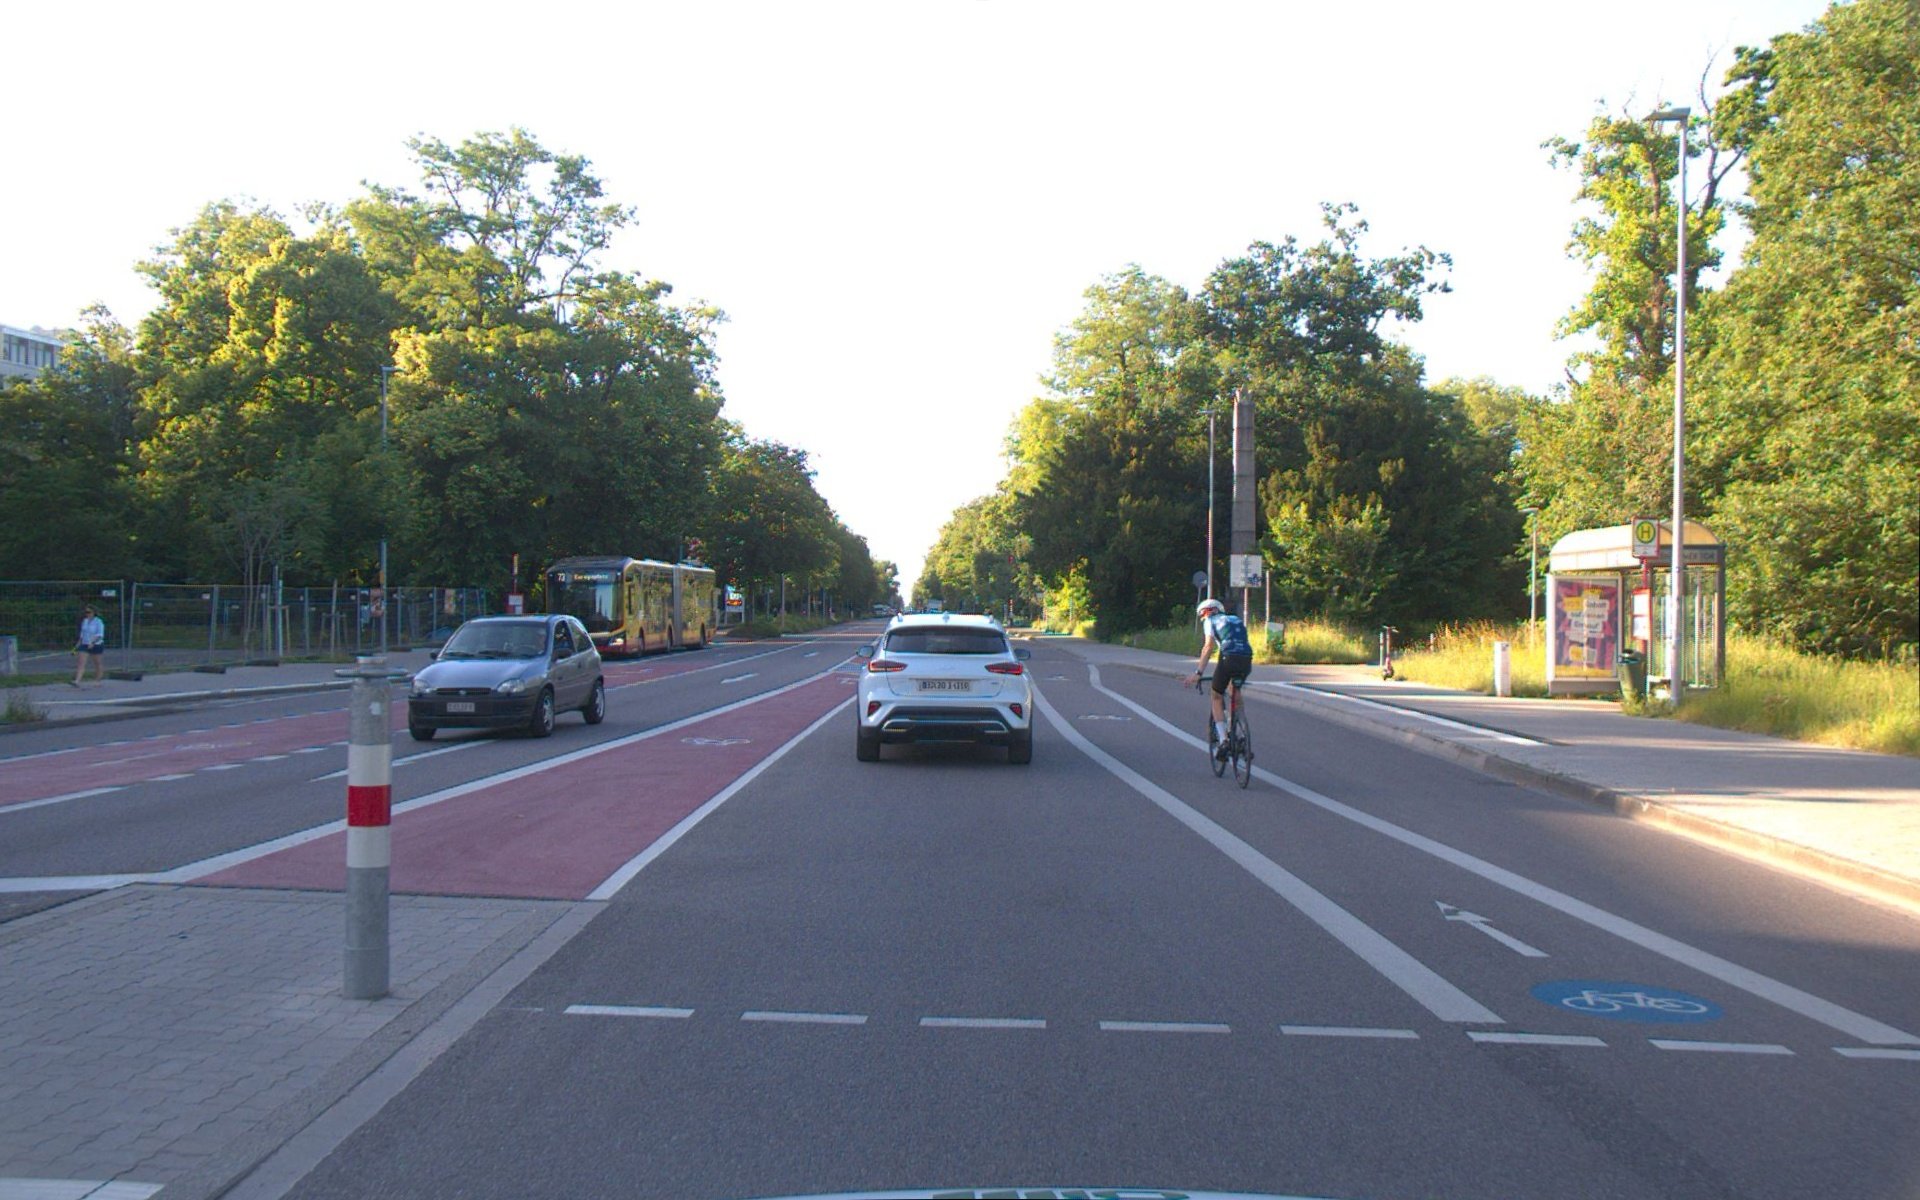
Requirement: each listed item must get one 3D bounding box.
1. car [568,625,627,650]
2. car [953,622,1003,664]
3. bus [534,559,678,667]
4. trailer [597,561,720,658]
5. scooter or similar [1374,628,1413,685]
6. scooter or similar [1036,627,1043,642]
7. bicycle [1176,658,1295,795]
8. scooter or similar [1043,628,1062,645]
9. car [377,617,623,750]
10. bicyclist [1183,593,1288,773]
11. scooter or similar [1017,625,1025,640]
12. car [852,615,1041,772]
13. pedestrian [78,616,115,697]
[{"bbox_3d":[-21.723,2.258,99.227,1.528,1.425,3.484,-3,-2,30],"label":"car"},{"bbox_3d":[0.664,1.486,57.829,1.641,1.442,3.574,0,-1,2],"label":"car"},{"bbox_3d":[-11.749,0.458,55.744,2.782,3.253,8.599,2,-1,1],"label":"bus"},{"bbox_3d":[-11.620,0.448,64.722,2.796,3.414,9.362,2,-1,1],"label":"trailer"},{"bbox_3d":[9.994,1.285,38.110,0.707,1.269,1.328,0,-1,22],"label":"scooter or similar"},{"bbox_3d":[6.734,2.923,139.743,0.522,1.272,1.541,0,-1,-1],"label":"scooter or similar"},{"bbox_3d":[2.538,1.134,15.461,0.872,1.114,2.137,2,-1,4],"label":"bicycle"},{"bbox_3d":[6.787,2.669,121.893,0.526,1.272,1.530,-1,-1,45],"label":"scooter or similar"},{"bbox_3d":[-5.453,0.938,20.205,1.675,1.446,4.554,0,-1,1],"label":"car"},{"bbox_3d":[2.536,0.749,15.333,0.842,1.594,0.881,2,-1,4],"label":"bicyclist"},{"bbox_3d":[6.099,3.268,165.492,0.668,1.448,1.681,0,-1,-2],"label":"scooter or similar"},{"bbox_3d":[-0.248,0.932,17.899,1.727,1.485,3.813,1,-1,-5],"label":"car"},{"bbox_3d":[-16.812,1.097,32.205,0.442,1.561,0.571,0,-1,-5],"label":"pedestrian"}]
